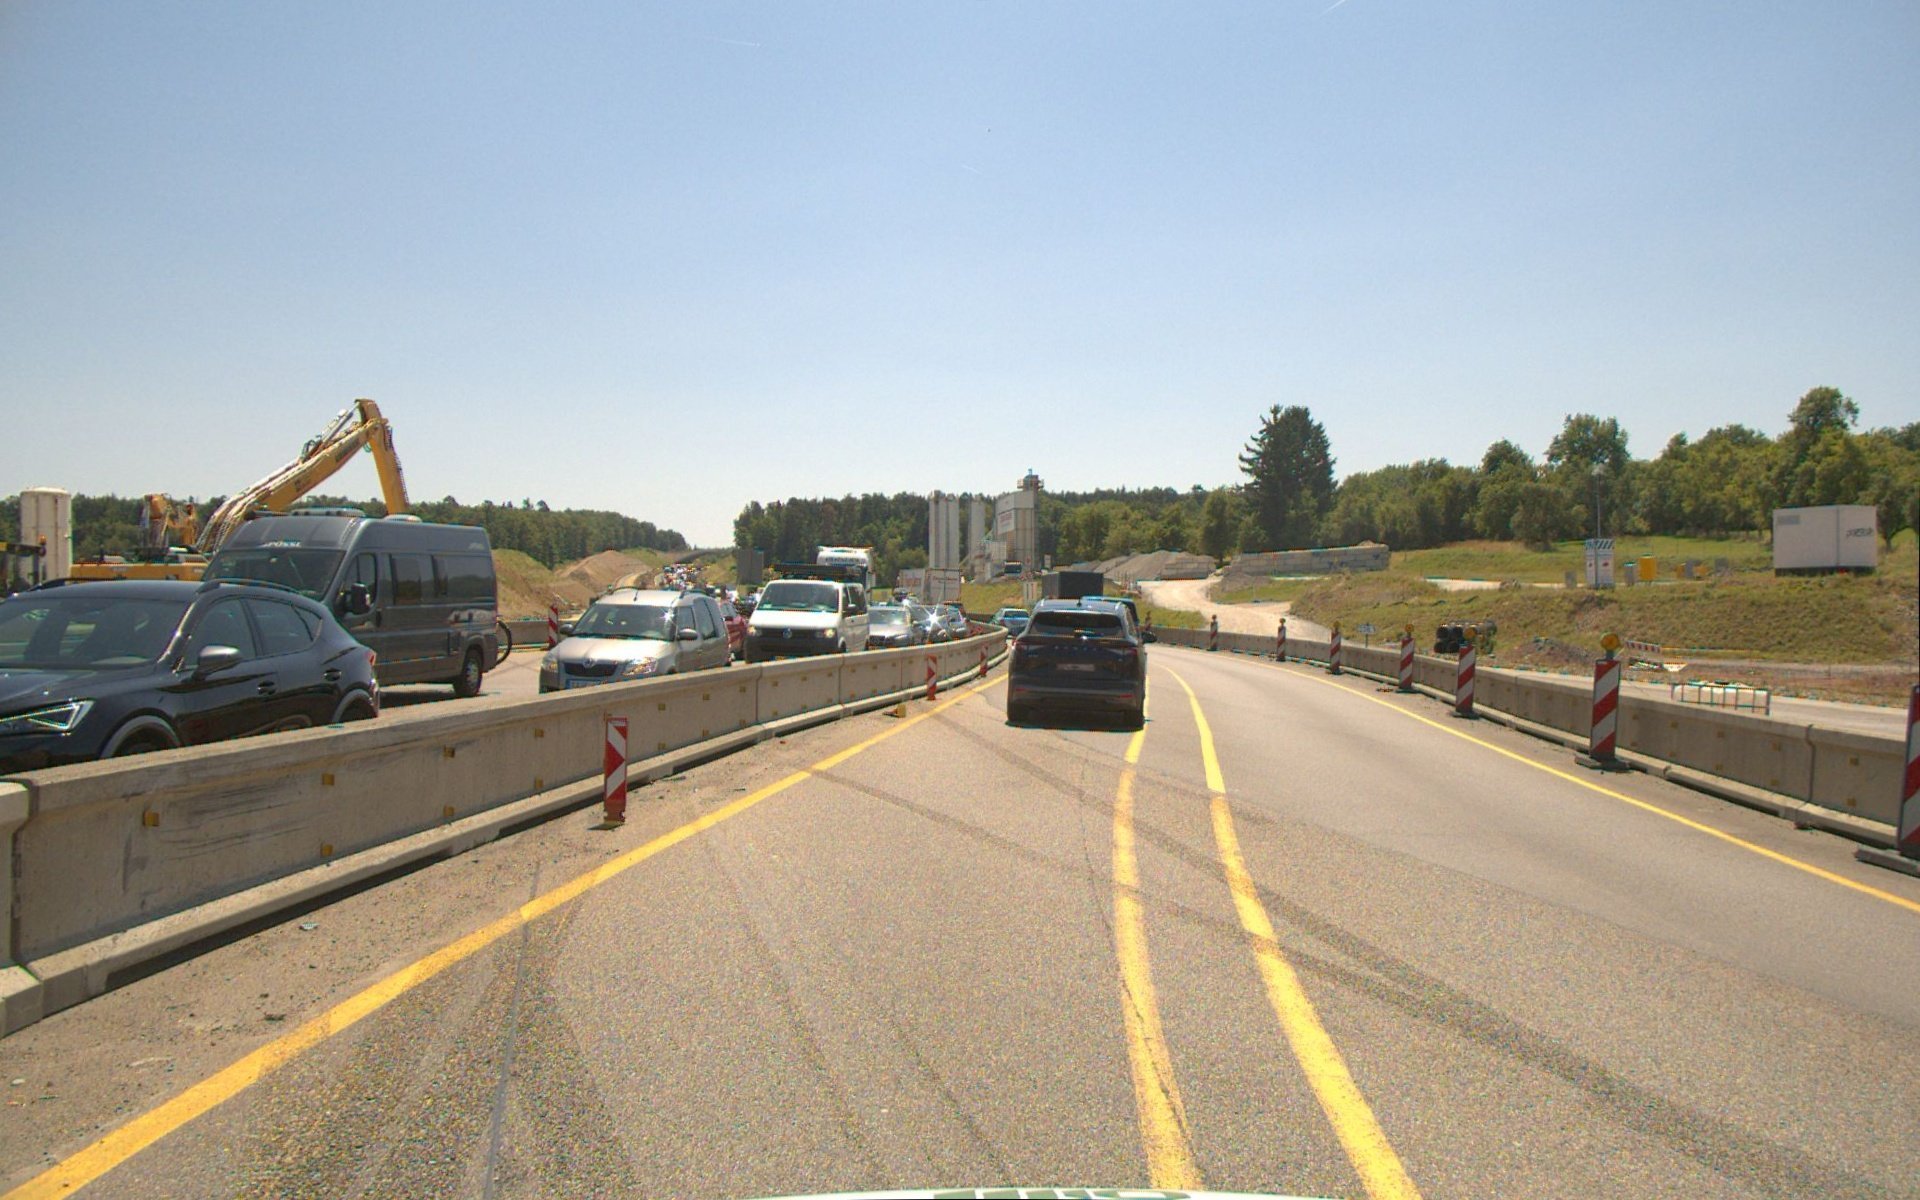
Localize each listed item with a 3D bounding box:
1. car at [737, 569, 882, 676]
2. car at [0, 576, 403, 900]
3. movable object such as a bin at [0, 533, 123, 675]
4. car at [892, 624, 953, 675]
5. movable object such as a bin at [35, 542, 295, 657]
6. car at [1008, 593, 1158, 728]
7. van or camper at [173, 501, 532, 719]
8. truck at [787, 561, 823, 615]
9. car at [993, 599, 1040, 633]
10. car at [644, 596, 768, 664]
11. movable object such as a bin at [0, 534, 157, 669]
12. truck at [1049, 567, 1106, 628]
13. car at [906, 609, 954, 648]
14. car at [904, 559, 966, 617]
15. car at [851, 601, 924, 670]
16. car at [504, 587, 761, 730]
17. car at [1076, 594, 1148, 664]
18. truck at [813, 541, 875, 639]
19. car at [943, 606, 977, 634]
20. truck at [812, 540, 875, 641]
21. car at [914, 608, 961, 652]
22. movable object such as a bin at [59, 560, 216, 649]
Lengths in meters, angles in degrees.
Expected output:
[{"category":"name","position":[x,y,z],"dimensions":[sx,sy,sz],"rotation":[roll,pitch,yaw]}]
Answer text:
[{"category":"car","position":[-2.922,0.422,33.350],"dimensions":[1.833,1.905,5.062],"rotation":[3,0,7]},{"category":"car","position":[-5.017,0.647,9.968],"dimensions":[1.654,1.507,4.471],"rotation":[-2,0,2]},{"category":"movable object such as a bin","position":[-19.950,-0.096,30.786],"dimensions":[7.748,2.474,3.716],"rotation":[3,0,25]},{"category":"car","position":[-1.133,1.512,51.925],"dimensions":[1.690,1.432,4.130],"rotation":[1,0,2]},{"category":"movable object such as a bin","position":[-19.368,-0.021,40.689],"dimensions":[3.222,2.483,5.444],"rotation":[3,0,7]},{"category":"car","position":[1.693,0.752,22.711],"dimensions":[1.804,1.609,4.002],"rotation":[3,0,4]},{"category":"van or camper","position":[-8.112,0.116,22.962],"dimensions":[2.054,2.586,6.309],"rotation":[-1,0,6]},{"category":"truck","position":[-12.785,-0.998,135.900],"dimensions":[2.719,4.210,10.856],"rotation":[0,0,-6]},{"category":"car","position":[2.732,0.772,80.789],"dimensions":[2.004,1.553,5.065],"rotation":[-1,0,-1]},{"category":"car","position":[-6.276,0.706,41.408],"dimensions":[1.952,1.527,4.657],"rotation":[3,0,5]},{"category":"movable object such as a bin","position":[-21.592,-0.060,37.153],"dimensions":[5.922,2.811,2.813],"rotation":[2,0,15]},{"category":"truck","position":[5.920,-0.141,84.030],"dimensions":[2.618,2.997,5.621],"rotation":[-1,0,1]},{"category":"car","position":[-1.238,1.118,67.066],"dimensions":[1.645,1.469,4.549],"rotation":[1,0,-5]},{"category":"car","position":[-2.003,-0.927,129.364],"dimensions":[3.373,4.172,9.178],"rotation":[3,0,-9]},{"category":"car","position":[-1.852,0.897,43.396],"dimensions":[1.478,1.632,3.954],"rotation":[3,0,3]},{"category":"car","position":[-4.187,0.688,21.887],"dimensions":[1.719,1.644,4.232],"rotation":[2,0,13]},{"category":"car","position":[4.354,0.798,47.650],"dimensions":[1.951,1.876,4.002],"rotation":[1,1,4]},{"category":"truck","position":[-5.543,-0.491,79.778],"dimensions":[2.719,4.352,11.771],"rotation":[0,0,-4]},{"category":"car","position":[-0.037,1.279,105.132],"dimensions":[1.785,1.673,3.861],"rotation":[1,0,-5]},{"category":"truck","position":[-5.219,-0.432,74.520],"dimensions":[2.716,4.334,6.194],"rotation":[0,0,-4]},{"category":"car","position":[-0.789,1.051,60.099],"dimensions":[1.622,1.478,4.248],"rotation":[1,0,0]},{"category":"movable object such as a bin","position":[-30.783,0.097,62.183],"dimensions":[3.592,3.078,4.989],"rotation":[-1,2,-5]}]
